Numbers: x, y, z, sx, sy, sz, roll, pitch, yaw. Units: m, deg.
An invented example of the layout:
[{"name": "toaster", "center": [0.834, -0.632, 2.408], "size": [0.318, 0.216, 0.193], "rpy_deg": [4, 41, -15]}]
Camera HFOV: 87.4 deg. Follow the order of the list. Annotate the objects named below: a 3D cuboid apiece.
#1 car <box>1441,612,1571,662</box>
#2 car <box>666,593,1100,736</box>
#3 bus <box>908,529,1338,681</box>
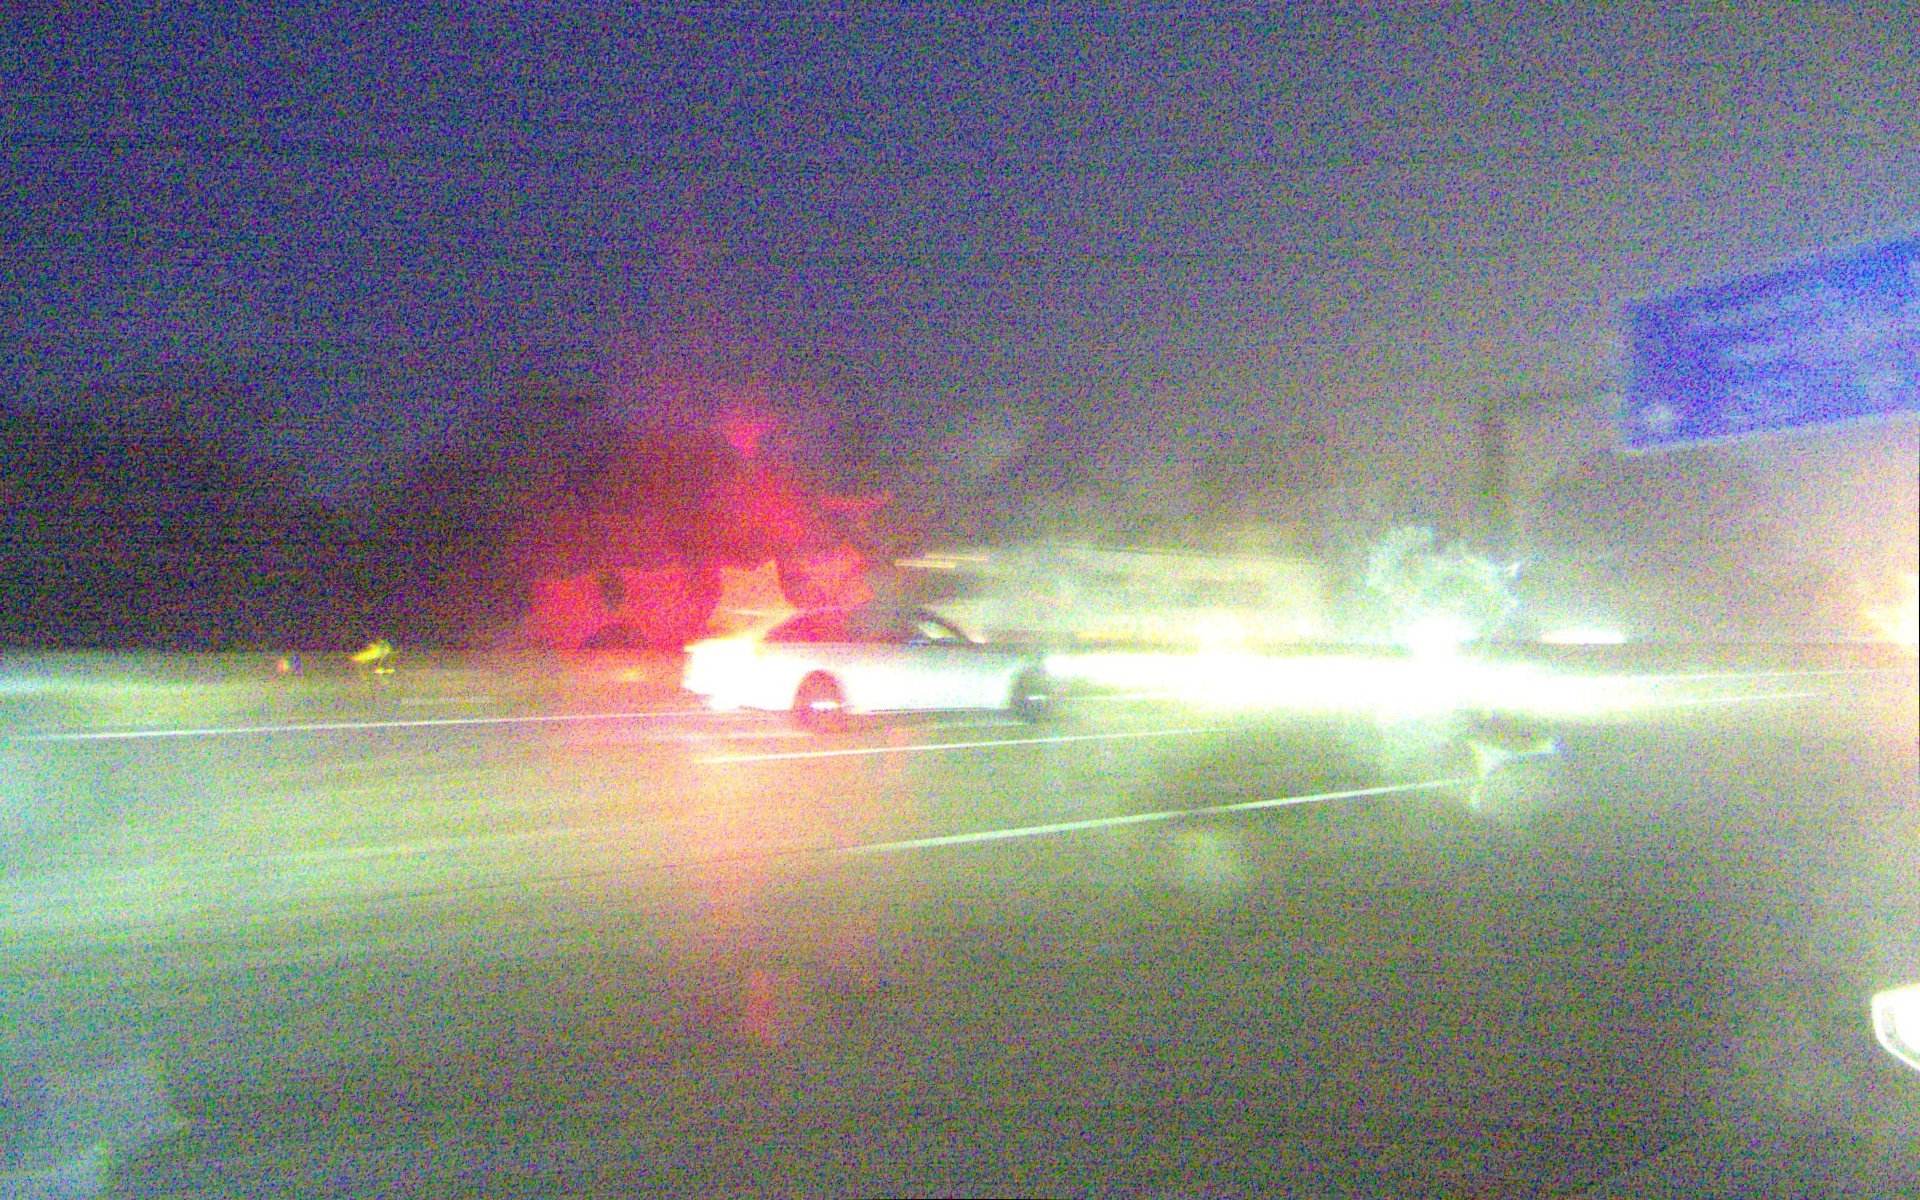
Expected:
[{"name": "car", "center": [18.659, 1.256, 34.284], "size": [4.409, 1.578, 1.870], "rpy_deg": [2, 0, -31]}, {"name": "car", "center": [-0.896, 0.745, 12.696], "size": [5.102, 1.496, 1.985], "rpy_deg": [2, 0, -29]}, {"name": "bus", "center": [6.387, 0.360, 35.567], "size": [16.812, 4.550, 3.059], "rpy_deg": [2, 0, -30]}]
